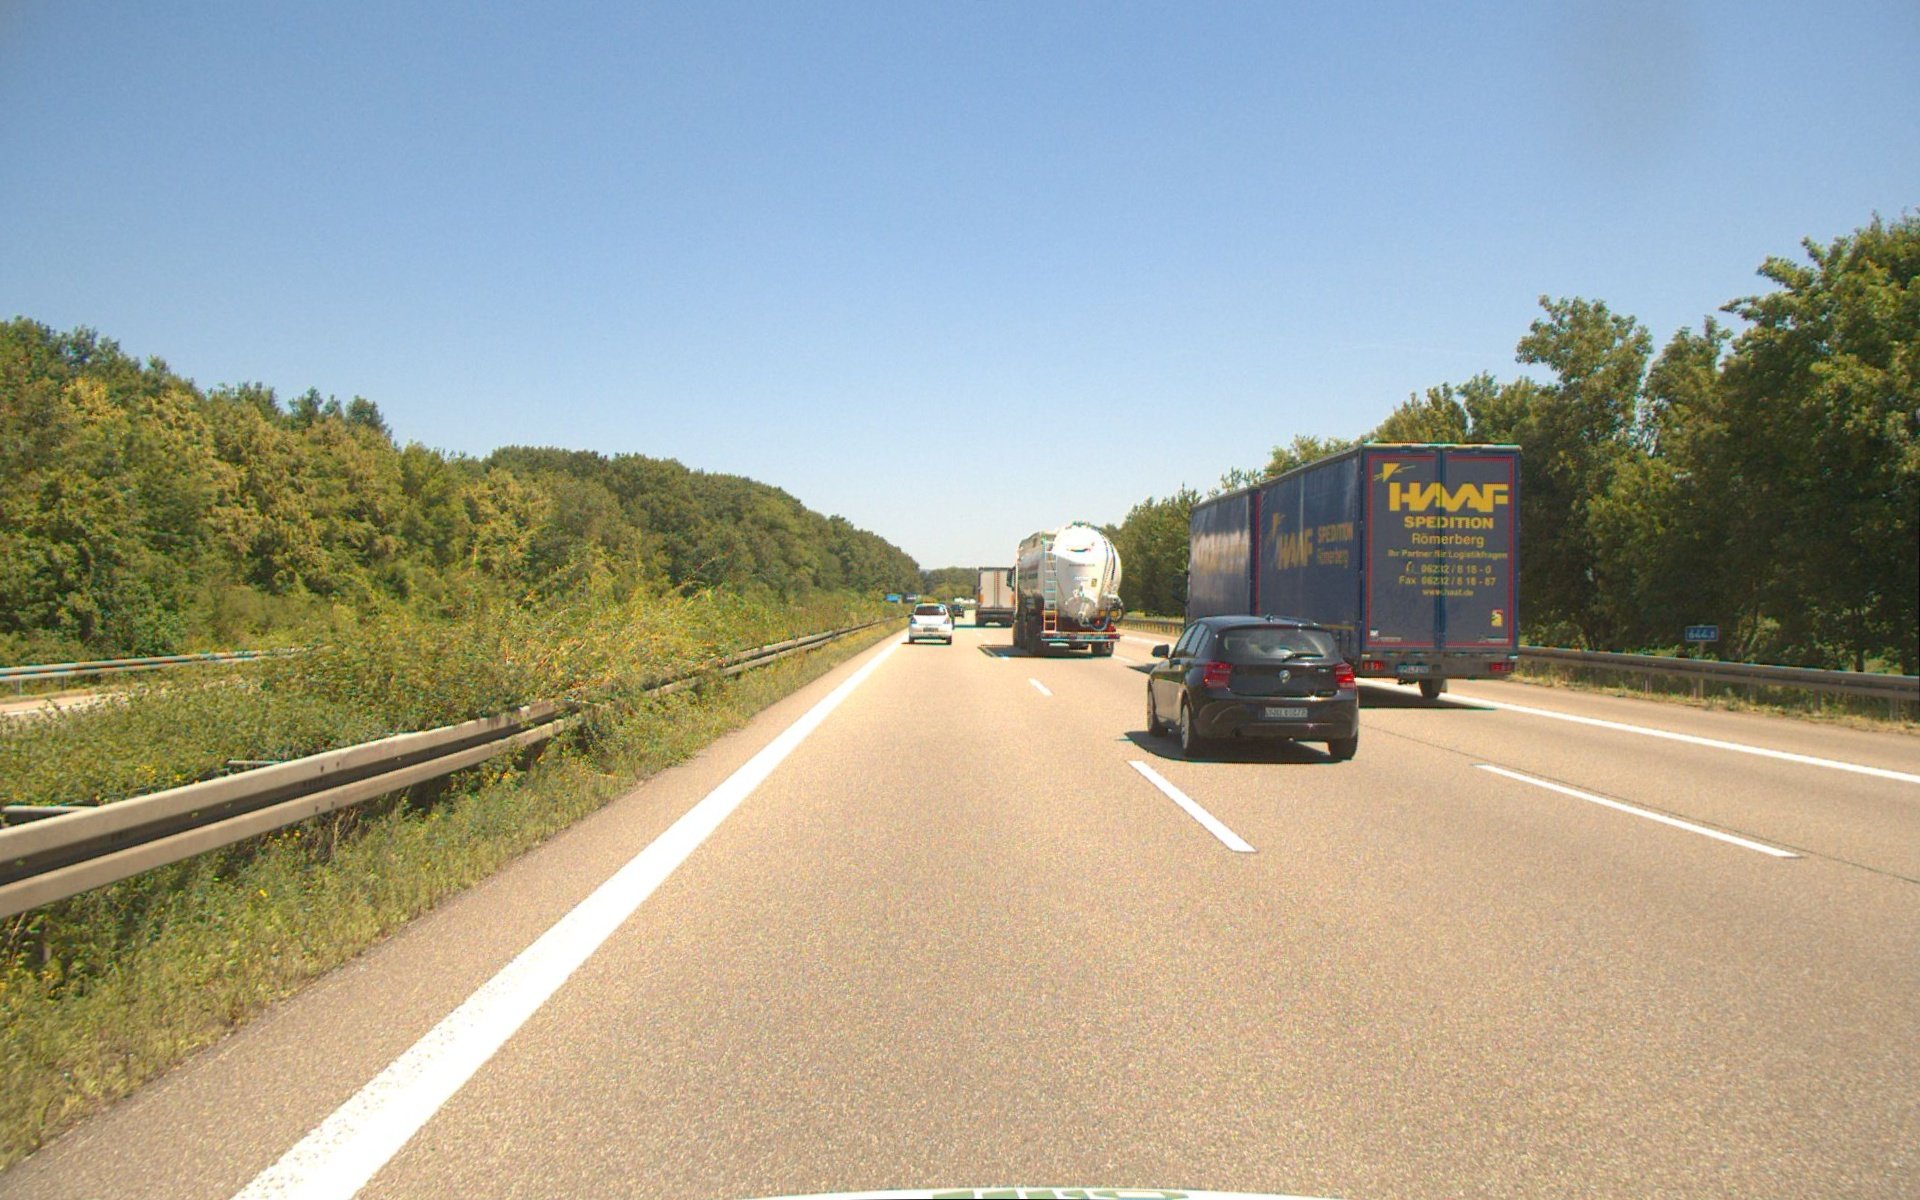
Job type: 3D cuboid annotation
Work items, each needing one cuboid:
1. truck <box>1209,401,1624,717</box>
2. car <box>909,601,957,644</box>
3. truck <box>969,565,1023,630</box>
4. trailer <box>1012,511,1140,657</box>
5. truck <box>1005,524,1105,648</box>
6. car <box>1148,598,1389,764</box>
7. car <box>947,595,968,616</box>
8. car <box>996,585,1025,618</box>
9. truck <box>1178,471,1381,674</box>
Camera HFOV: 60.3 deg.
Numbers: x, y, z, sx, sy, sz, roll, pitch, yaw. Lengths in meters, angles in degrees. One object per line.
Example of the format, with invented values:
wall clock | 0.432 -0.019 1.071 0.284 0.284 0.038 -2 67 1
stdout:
truck | 7.343 -0.570 30.118 3.045 4.211 15.508 1 0 -1
car | -1.075 0.847 64.150 1.763 1.579 3.608 1 0 -2
truck | 2.471 -0.189 117.458 3.325 4.287 12.081 1 0 -1
trailer | 3.528 -0.472 53.778 2.853 4.140 12.413 1 0 -2
truck | 3.326 -0.479 59.836 2.853 4.150 7.192 1 0 -2
car | 3.168 0.767 17.755 1.812 1.549 3.957 1 0 0
car | -0.303 0.656 193.718 2.425 2.395 5.180 1 0 -1
car | 5.085 0.132 166.005 2.615 3.245 5.566 1 0 -1
truck | 7.243 -0.593 38.753 3.045 4.211 8.055 1 0 -1
